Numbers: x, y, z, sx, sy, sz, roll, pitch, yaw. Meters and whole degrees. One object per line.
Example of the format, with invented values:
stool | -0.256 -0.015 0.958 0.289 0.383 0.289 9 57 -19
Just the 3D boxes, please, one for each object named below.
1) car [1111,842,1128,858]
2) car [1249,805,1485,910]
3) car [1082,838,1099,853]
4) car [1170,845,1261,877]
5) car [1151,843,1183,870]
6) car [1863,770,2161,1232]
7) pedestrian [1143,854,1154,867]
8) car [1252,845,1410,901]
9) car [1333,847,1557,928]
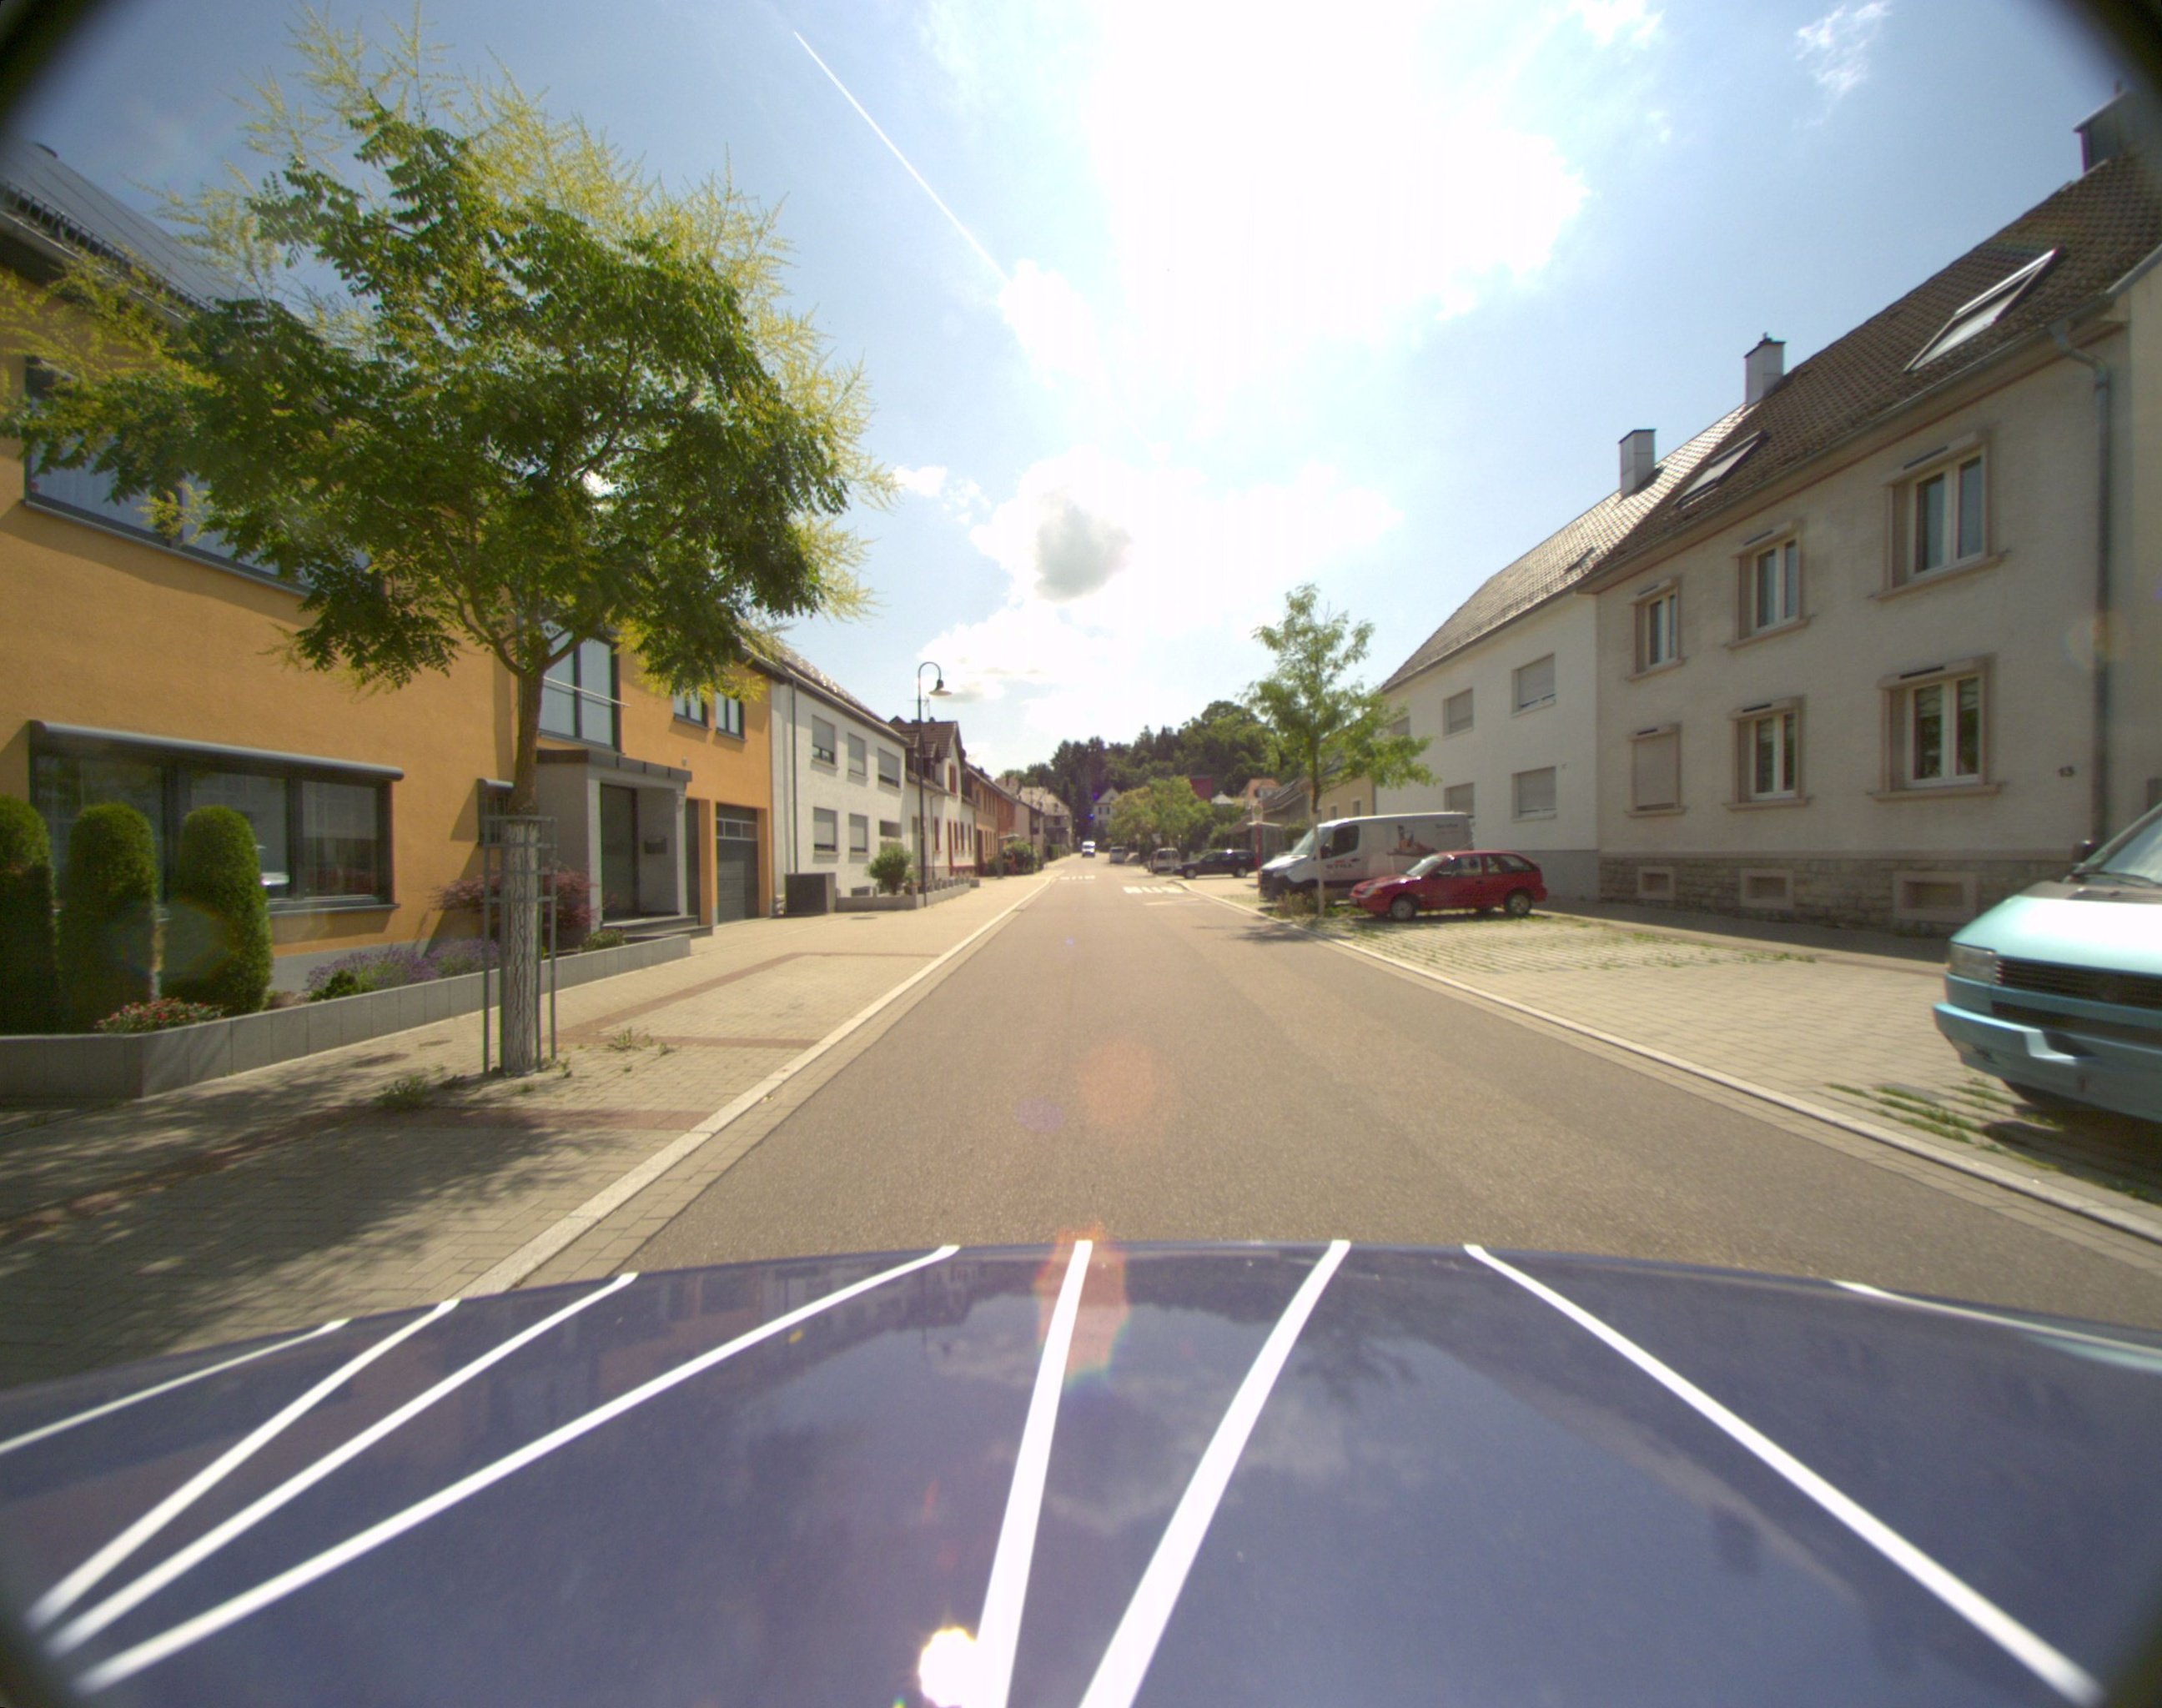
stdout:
car | 4.916 -0.481 97.596 1.998 1.968 3.999 -1 1 0
car | 7.214 0.082 19.567 5.180 2.275 2.157 -3 1 -1
car | 1.542 -1.426 123.021 2.489 2.306 5.599 -3 1 0
car | 7.259 0.387 41.356 4.598 1.508 1.901 -3 1 1
car | 5.970 0.181 53.274 1.844 1.737 4.687 -3 0 2
car | 6.746 0.482 3.229 4.688 1.896 2.000 -3 1 1
pedestrian | 6.395 0.616 71.971 0.815 1.135 0.885 -3 1 -3
car | 7.324 0.533 22.511 3.997 1.437 1.901 -2 1 -2
car | 7.438 0.657 15.794 3.792 1.377 1.725 -3 1 1
